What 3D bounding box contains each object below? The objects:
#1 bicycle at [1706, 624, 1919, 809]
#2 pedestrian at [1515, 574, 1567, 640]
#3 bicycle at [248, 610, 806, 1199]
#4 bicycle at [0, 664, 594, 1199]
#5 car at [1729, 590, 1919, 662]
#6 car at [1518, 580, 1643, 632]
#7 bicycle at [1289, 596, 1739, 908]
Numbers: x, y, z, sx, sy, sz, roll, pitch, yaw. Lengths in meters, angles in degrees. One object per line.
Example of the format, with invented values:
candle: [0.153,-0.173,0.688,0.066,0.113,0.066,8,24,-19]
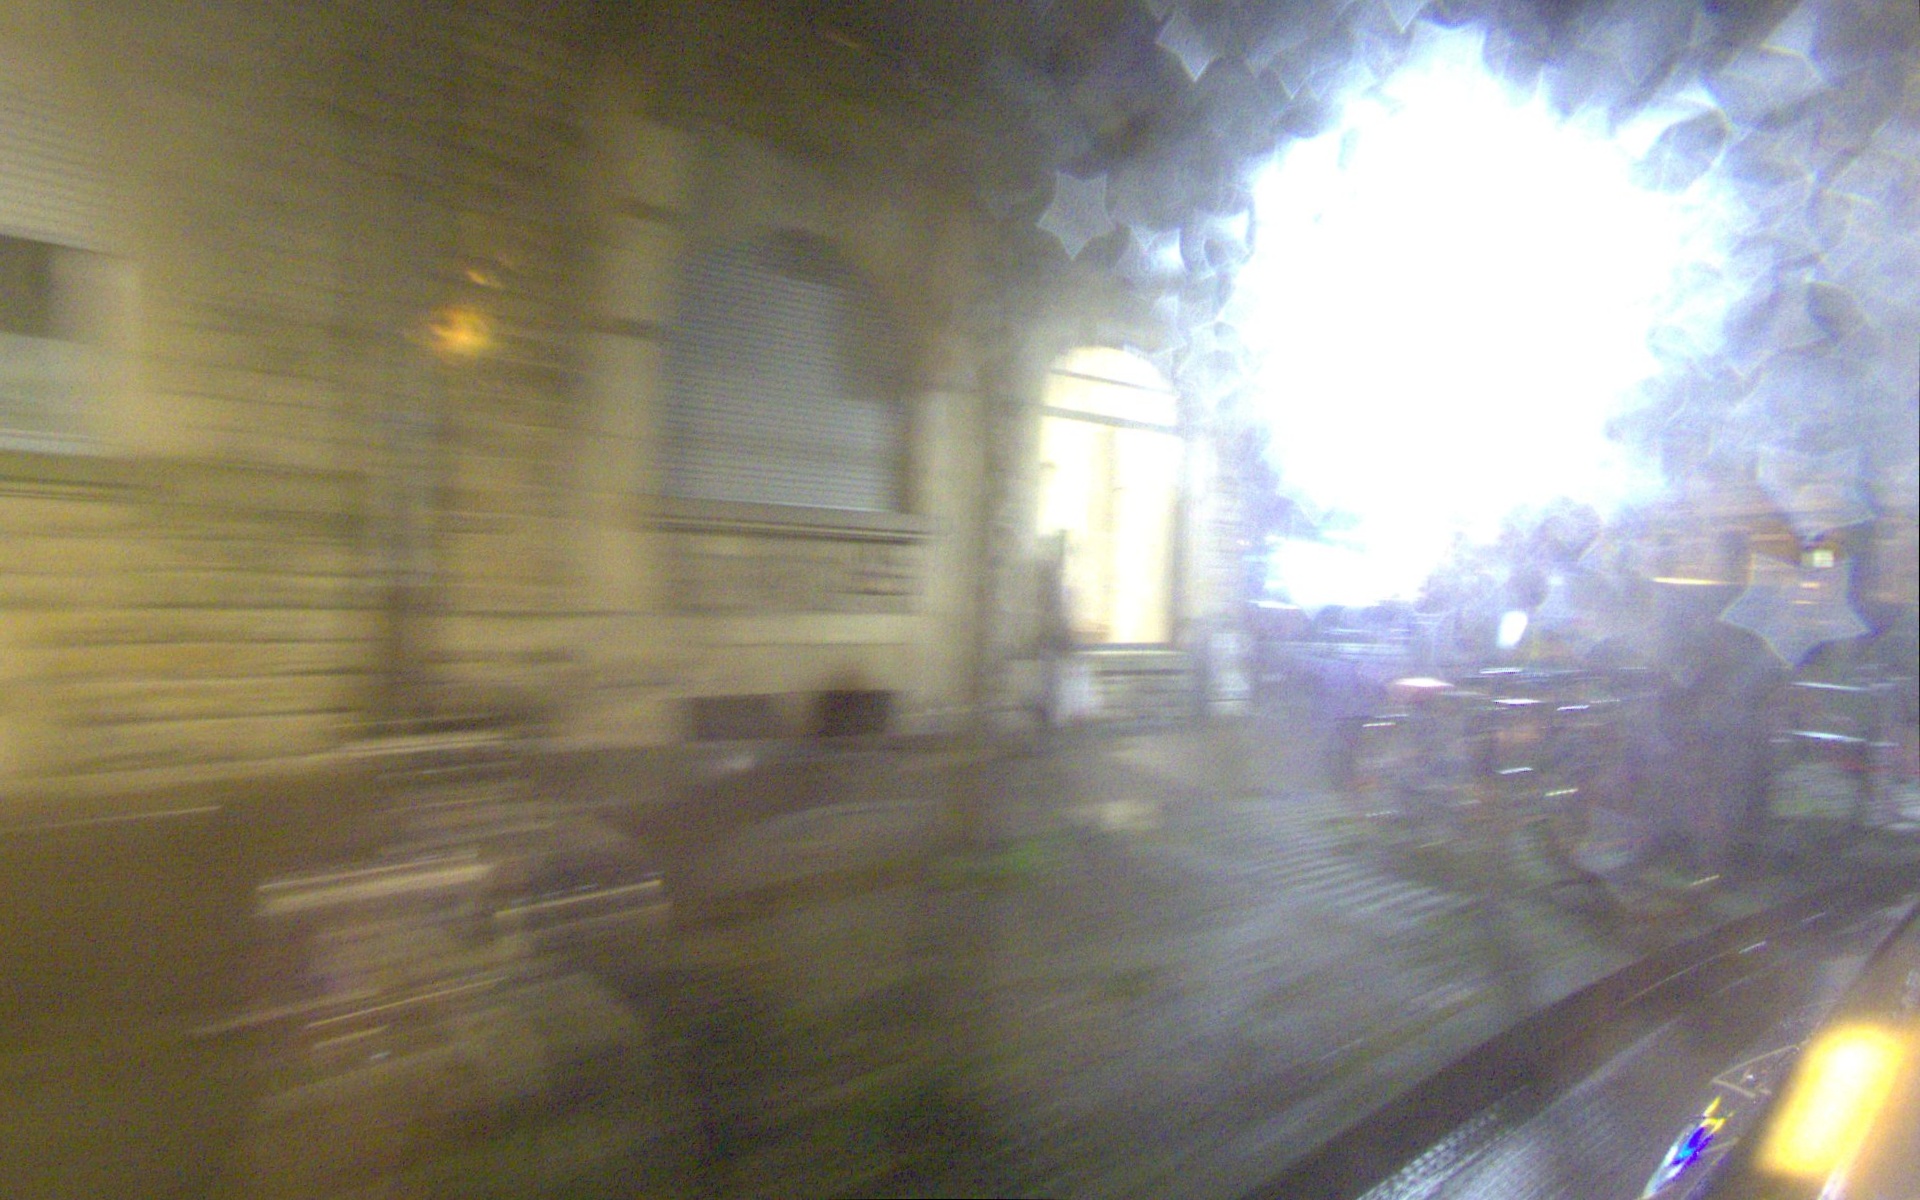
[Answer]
bicycle: [6.152,0.772,6.891,0.555,1.094,1.623,-2,4,-40]
pedestrian: [16.098,0.192,28.040,1.021,1.786,0.691,2,-1,-11]
bicycle: [-1.184,0.649,2.418,0.717,1.128,1.931,0,3,-39]
bicycle: [-1.342,0.726,1.774,0.717,0.999,1.931,0,3,-39]
car: [22.626,0.593,26.189,1.852,1.613,4.500,0,1,-2]
car: [22.404,0.163,36.759,1.845,1.725,4.288,0,1,0]
bicycle: [2.759,0.646,5.250,0.717,1.232,1.874,0,3,-39]
